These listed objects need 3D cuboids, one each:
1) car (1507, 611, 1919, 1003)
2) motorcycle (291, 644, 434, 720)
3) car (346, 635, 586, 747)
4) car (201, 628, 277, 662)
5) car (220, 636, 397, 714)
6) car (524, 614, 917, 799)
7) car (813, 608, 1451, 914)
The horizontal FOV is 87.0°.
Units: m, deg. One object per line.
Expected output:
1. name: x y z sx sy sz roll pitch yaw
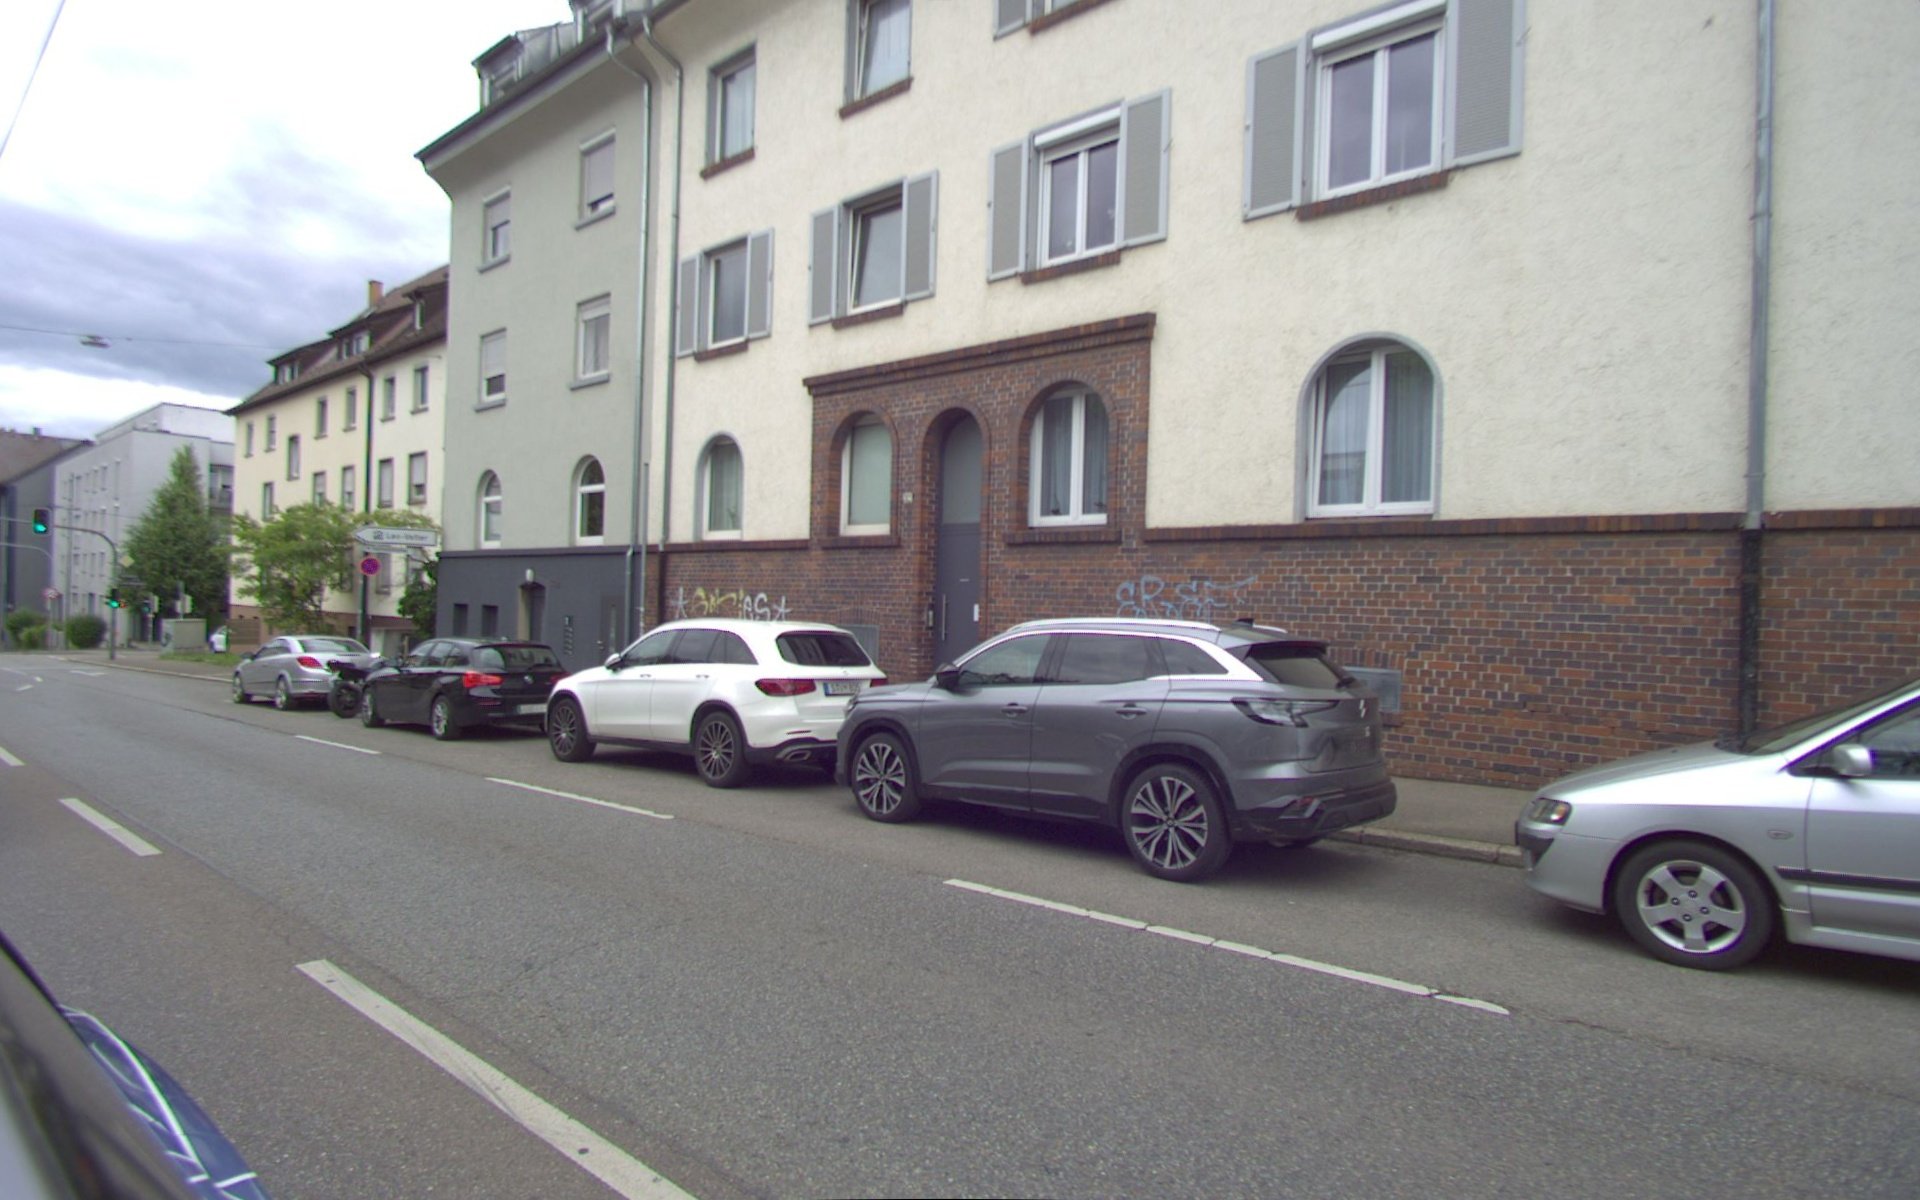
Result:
1. car: 4.833 0.879 4.392 4.079 1.570 1.709 -1 -5 41
2. motorcycle: -10.447 1.435 17.791 0.802 1.245 2.030 -1 -4 23
3. car: -7.464 1.252 15.130 4.189 1.440 1.709 -2 -3 41
4. car: -35.282 2.220 49.497 4.252 1.549 1.797 -3 -5 37
5. car: -12.908 1.404 19.951 4.333 1.385 1.709 -2 -3 40
6. car: -2.794 1.026 11.185 4.640 1.634 1.826 -2 -3 40
7. car: 0.989 0.928 7.538 4.502 1.611 1.708 -2 -3 43
